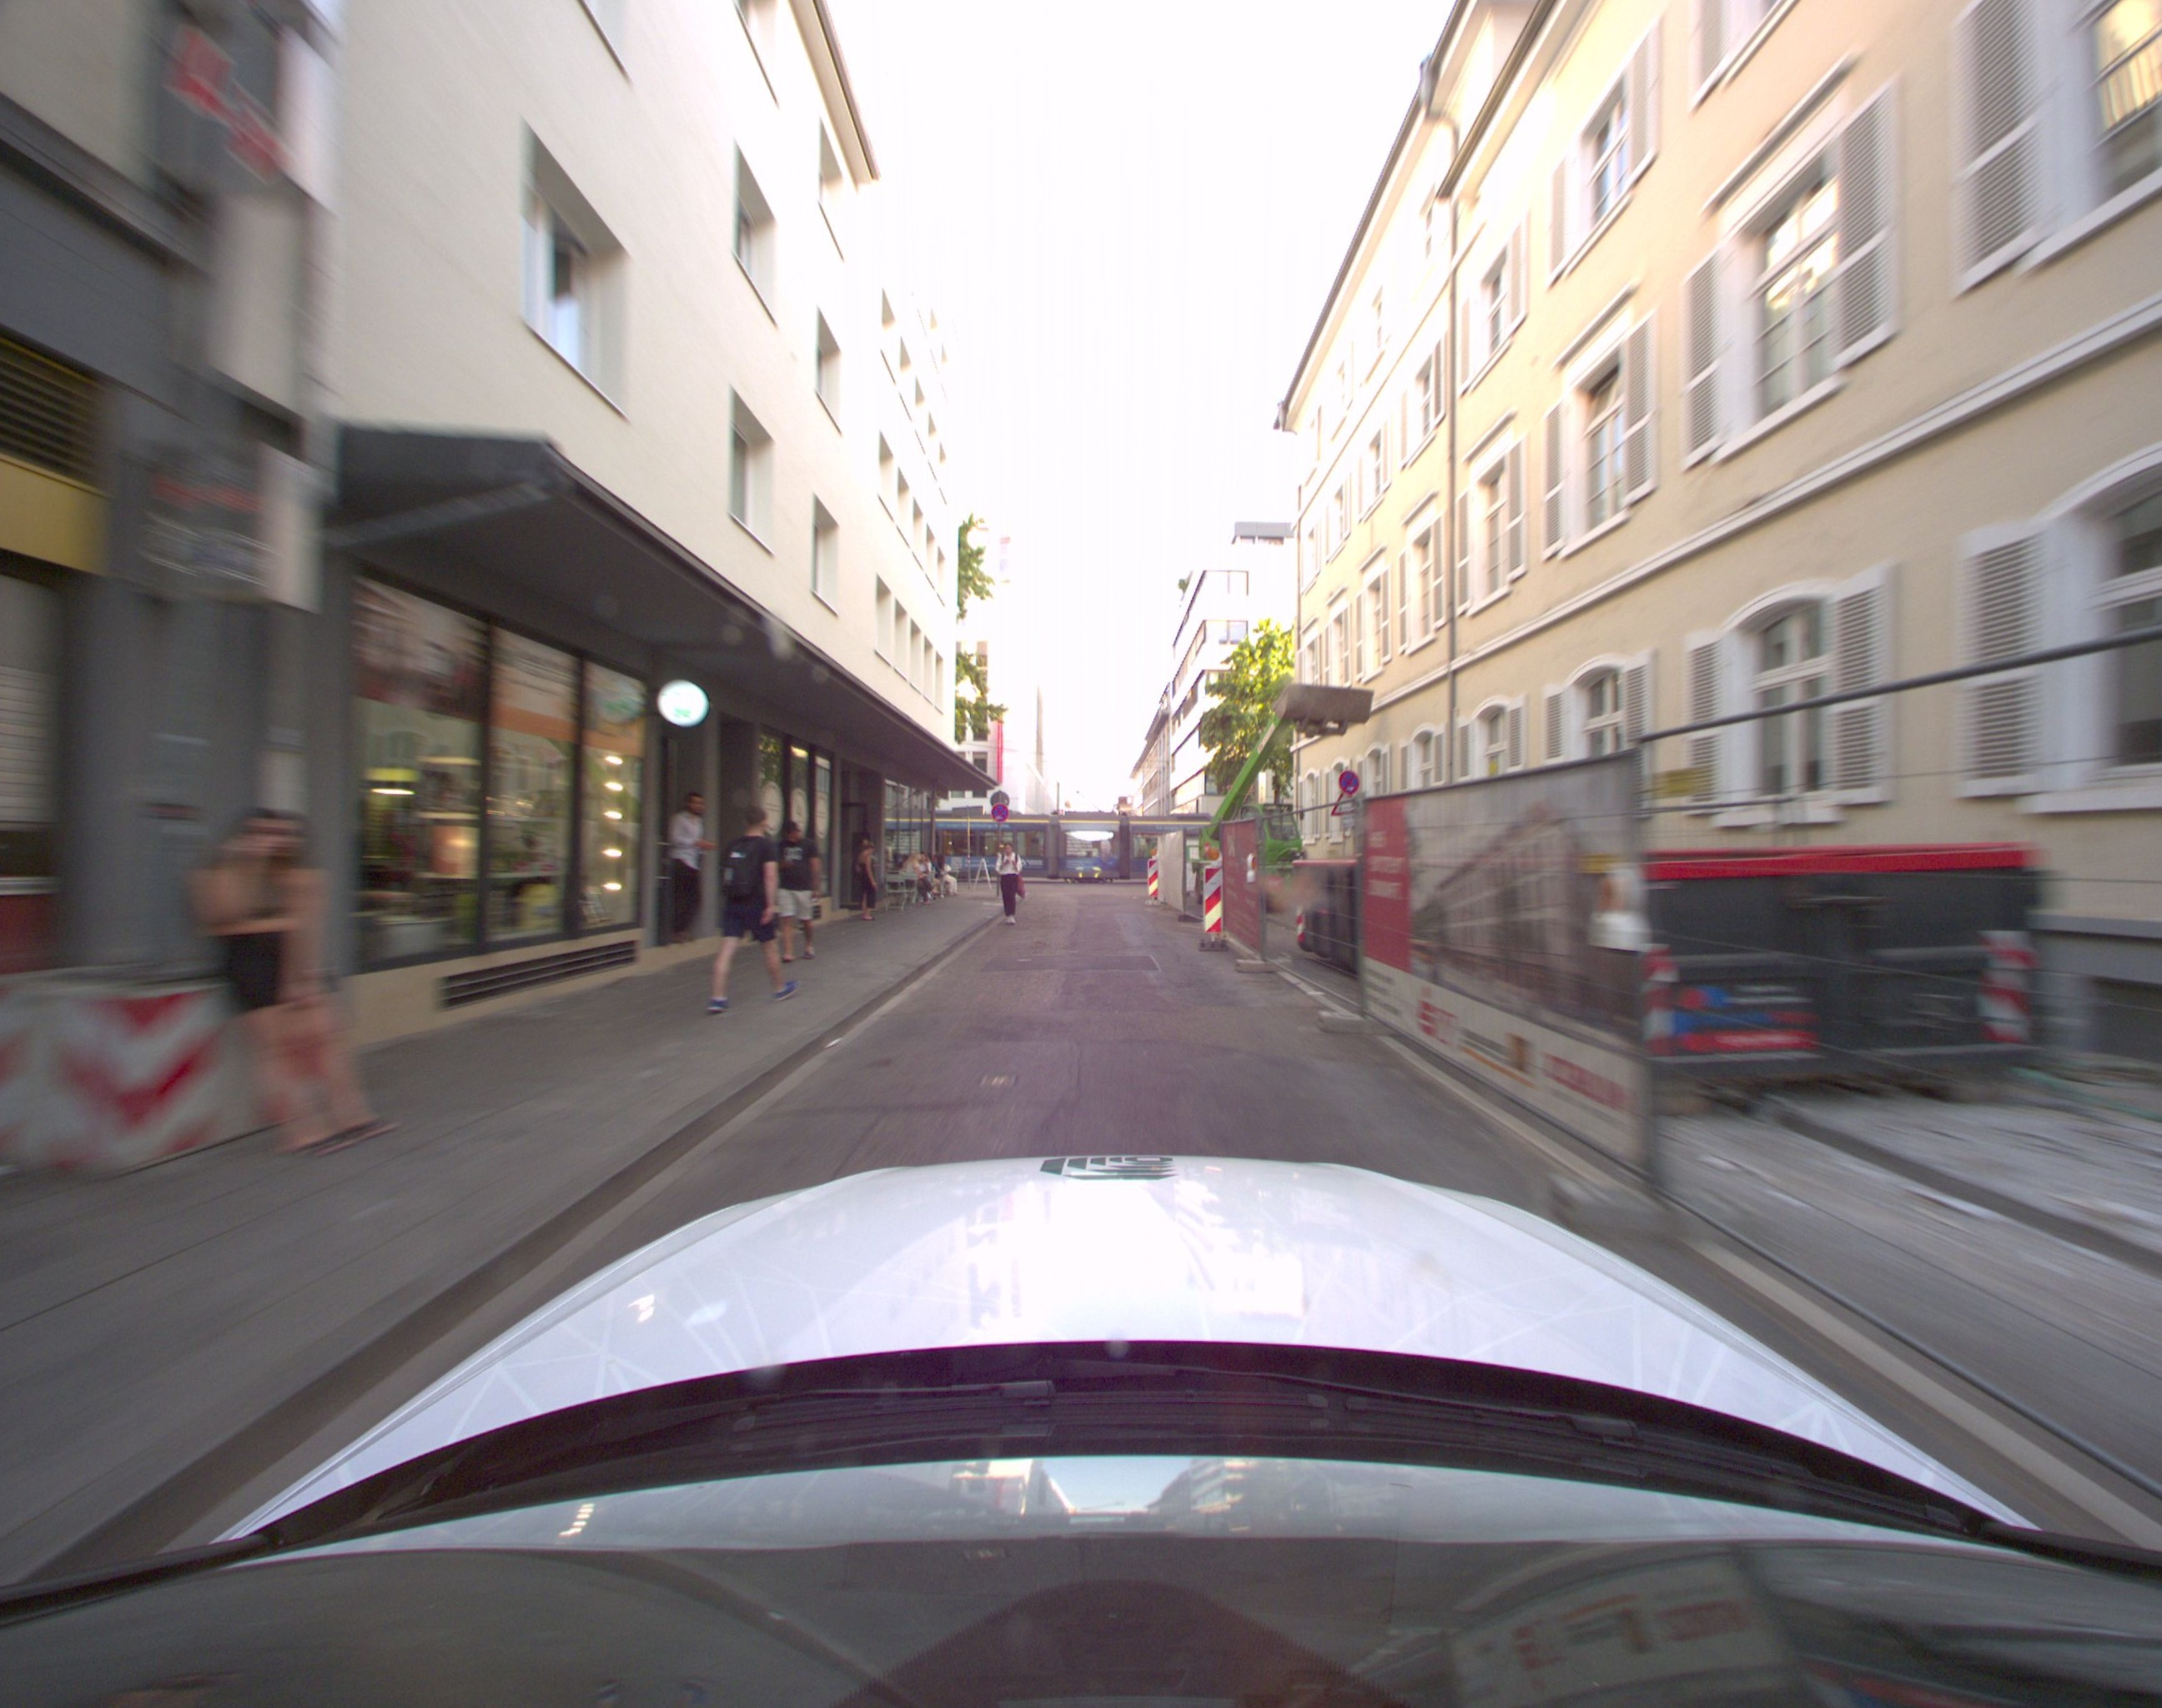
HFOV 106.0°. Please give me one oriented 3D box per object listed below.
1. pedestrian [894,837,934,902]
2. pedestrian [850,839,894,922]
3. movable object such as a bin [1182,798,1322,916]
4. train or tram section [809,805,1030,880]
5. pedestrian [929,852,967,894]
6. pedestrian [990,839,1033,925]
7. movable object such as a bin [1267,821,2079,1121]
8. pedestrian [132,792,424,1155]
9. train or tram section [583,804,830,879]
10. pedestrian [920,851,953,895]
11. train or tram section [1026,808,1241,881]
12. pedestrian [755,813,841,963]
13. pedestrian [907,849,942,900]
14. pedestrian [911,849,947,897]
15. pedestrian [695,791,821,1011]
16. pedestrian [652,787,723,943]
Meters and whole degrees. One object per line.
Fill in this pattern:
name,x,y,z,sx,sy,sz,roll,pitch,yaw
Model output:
pedestrian,-4.111,0.380,20.107,0.700,1.547,0.863,1,0,8
pedestrian,-4.062,0.498,15.813,0.660,1.569,0.633,2,0,-26
movable object such as a bin,4.557,0.060,22.827,2.628,2.872,5.561,0,0,-2
train or tram section,-7.812,-0.525,40.480,10.334,3.524,3.017,0,-1,0
pedestrian,-3.970,0.549,24.261,0.697,1.219,0.847,1,0,37
pedestrian,-1.450,0.576,17.044,0.753,1.739,0.785,-2,0,2
movable object such as a bin,4.196,0.621,8.241,2.882,1.664,7.291,0,0,-1
pedestrian,-3.784,0.531,3.898,0.707,1.578,0.612,2,0,-3
train or tram section,-18.365,-0.580,40.415,10.774,3.524,3.013,0,-1,0
pedestrian,-4.073,0.528,22.963,0.701,1.195,0.692,4,0,3
train or tram section,2.520,-0.439,40.574,10.303,3.524,3.026,0,-1,-1
pedestrian,-3.513,0.408,10.183,0.701,1.782,0.932,1,0,0
pedestrian,-4.053,0.532,21.089,0.707,1.286,0.854,1,0,-24
pedestrian,-4.114,0.516,22.098,0.701,1.240,0.778,4,0,4
pedestrian,-2.828,0.391,7.212,0.712,1.810,0.933,-1,0,1
pedestrian,-4.713,0.123,9.788,0.542,1.810,0.613,-1,0,0
